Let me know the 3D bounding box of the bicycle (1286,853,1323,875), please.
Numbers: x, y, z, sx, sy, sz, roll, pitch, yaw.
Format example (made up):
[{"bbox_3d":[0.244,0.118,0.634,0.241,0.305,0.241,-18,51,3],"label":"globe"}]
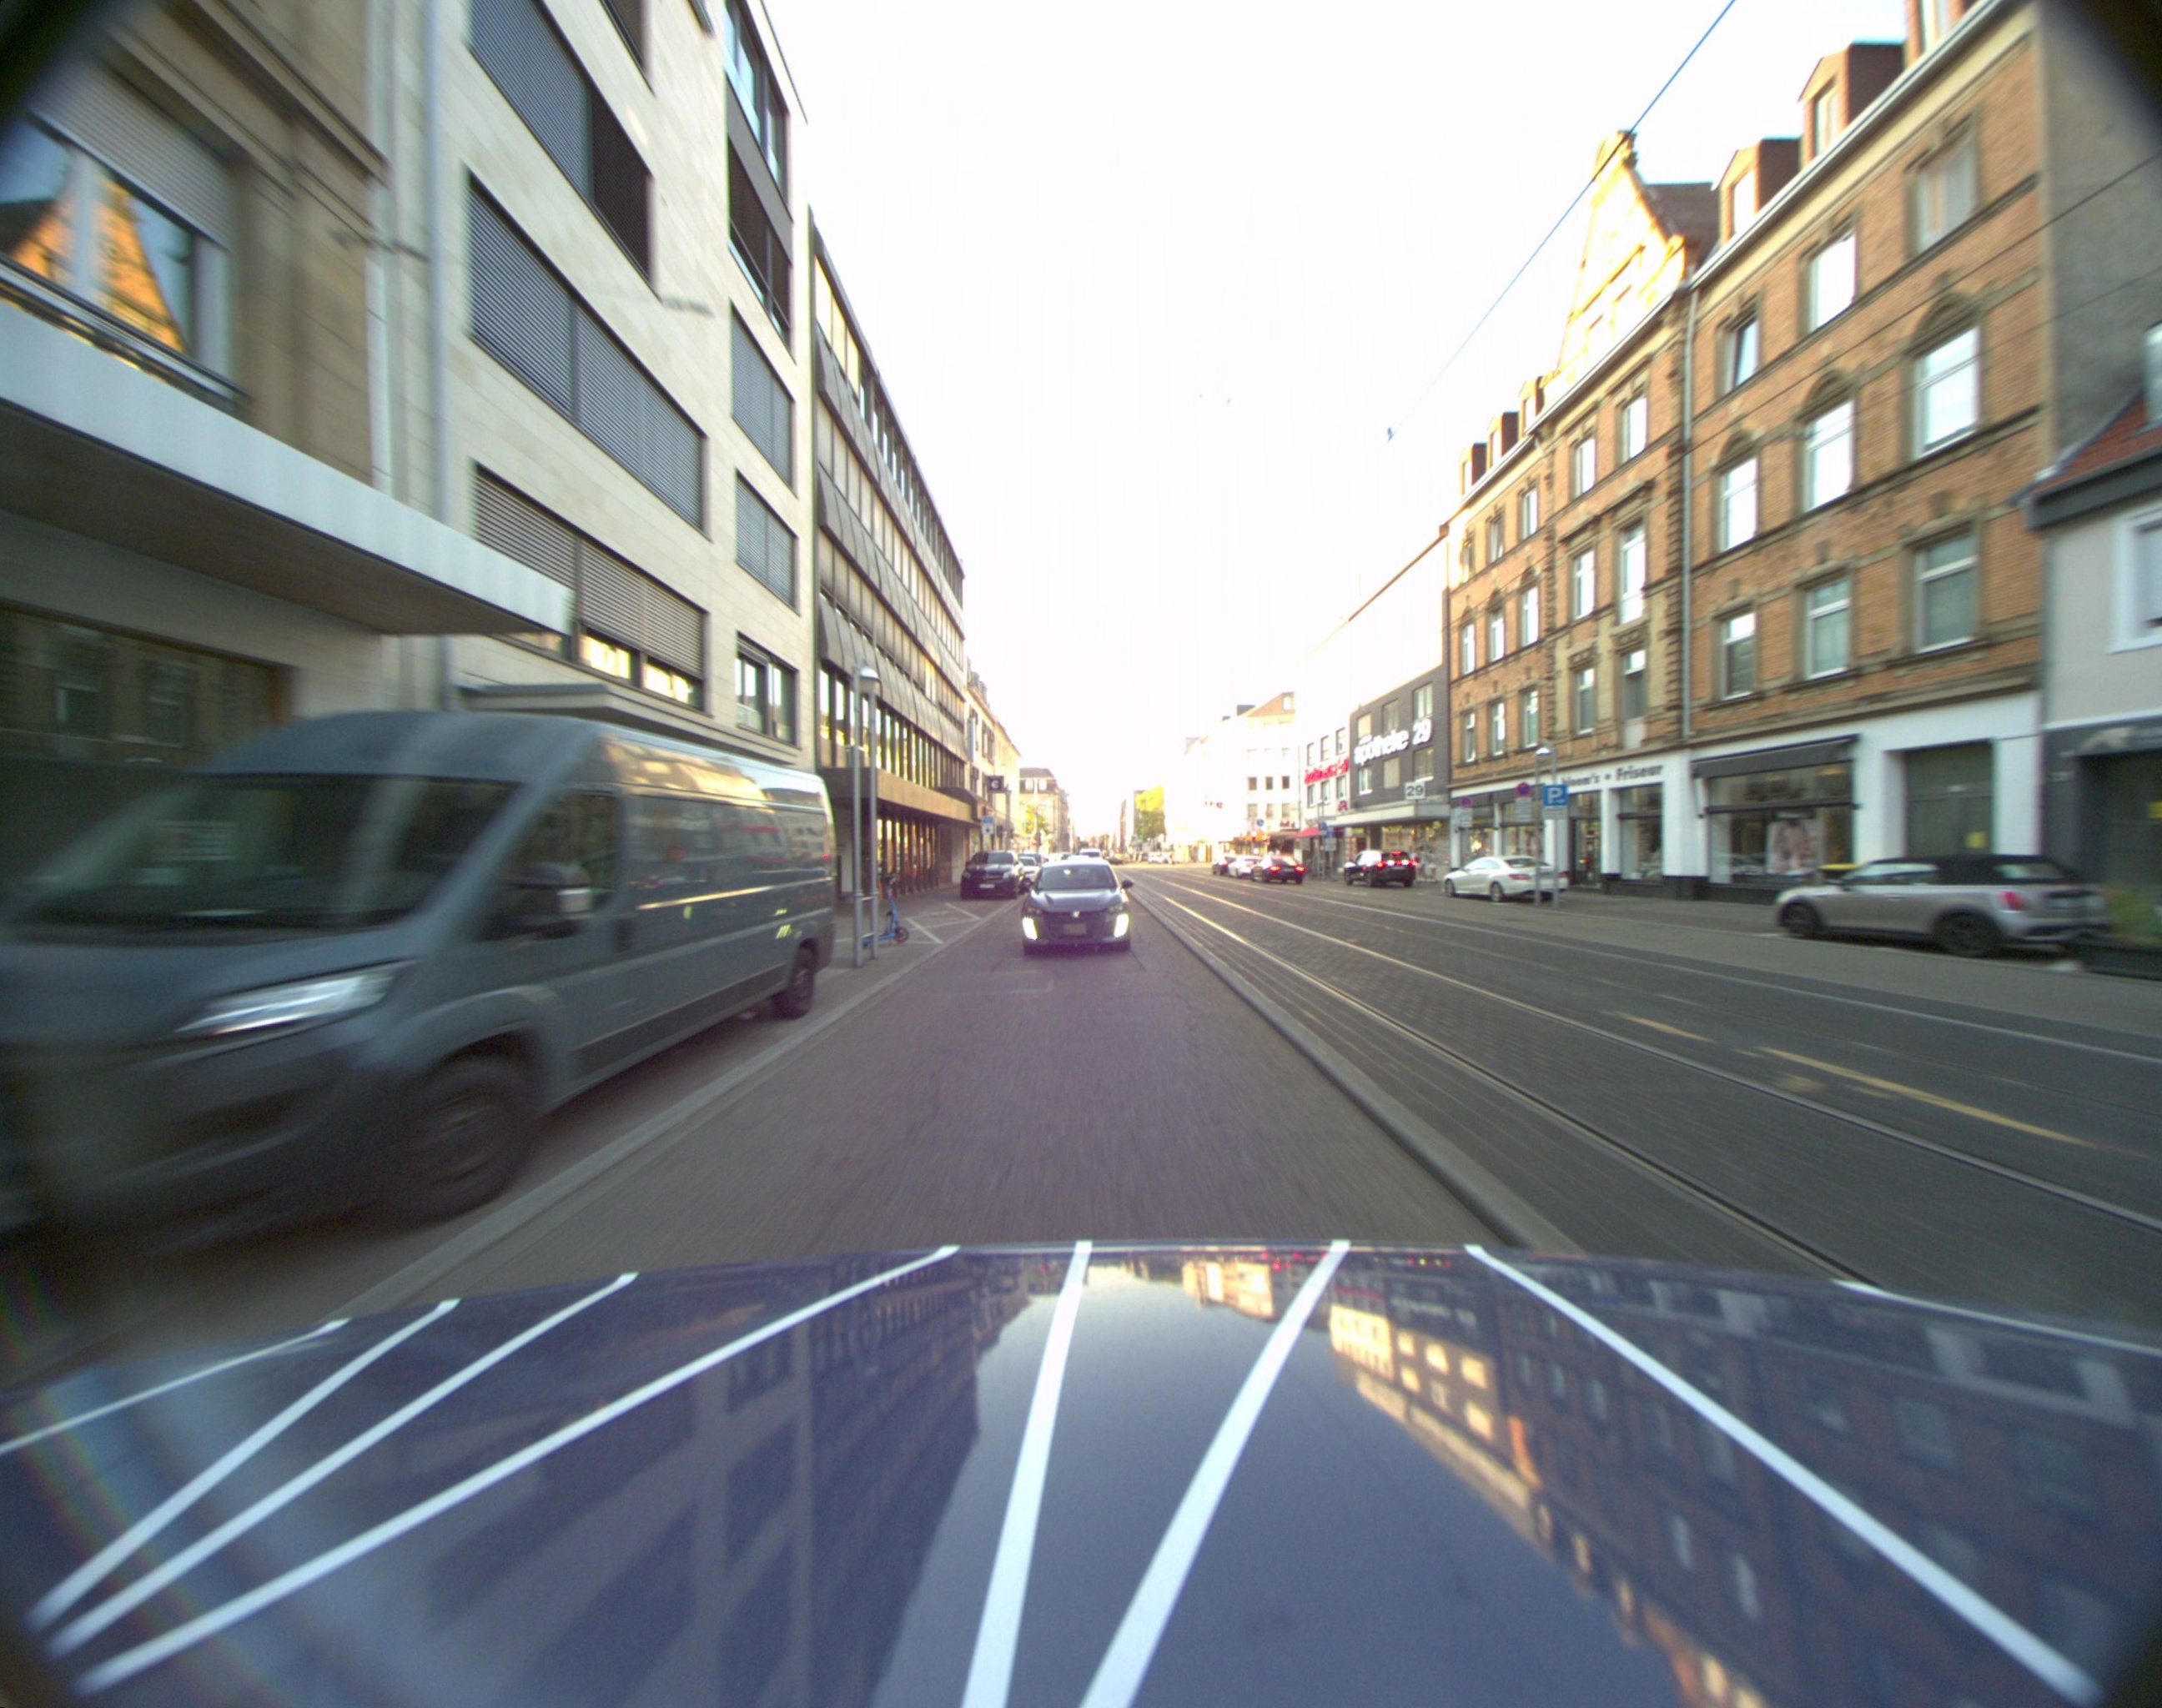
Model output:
[{"bbox_3d":[14.009,0.616,47.578,2.117,1.217,0.553,-3,3,1],"label":"bicycle"}]

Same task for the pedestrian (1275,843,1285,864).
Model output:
[{"bbox_3d":[17.638,-0.050,67.259,0.638,1.768,0.600,-1,1,-4],"label":"pedestrian"}]

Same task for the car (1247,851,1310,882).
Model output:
[{"bbox_3d":[9.994,0.607,38.881,1.999,1.444,4.648,0,0,0],"label":"car"}]

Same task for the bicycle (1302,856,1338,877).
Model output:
[{"bbox_3d":[13.635,0.715,43.390,1.835,1.041,0.489,-3,-1,1],"label":"bicycle"}]

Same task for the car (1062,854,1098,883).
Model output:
[{"bbox_3d":[-0.012,0.763,42.120,1.827,1.463,3.985,-1,0,2],"label":"car"}]

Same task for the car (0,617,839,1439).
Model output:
[{"bbox_3d":[-3.702,0.500,5.265,2.098,2.441,6.031,0,0,0],"label":"car"}]

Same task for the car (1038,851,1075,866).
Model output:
[{"bbox_3d":[-2.525,0.488,77.067,1.686,1.463,3.736,-1,1,-44],"label":"car"}]

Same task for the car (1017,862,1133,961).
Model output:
[{"bbox_3d":[-0.173,0.929,13.988,1.751,1.434,3.905,-4,0,-2],"label":"car"}]

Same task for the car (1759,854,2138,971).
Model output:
[{"bbox_3d":[13.091,0.769,11.884,1.602,1.431,3.812,-2,1,1],"label":"car"}]

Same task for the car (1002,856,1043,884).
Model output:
[{"bbox_3d":[-3.039,0.817,40.427,1.800,1.424,3.887,0,0,1],"label":"car"}]

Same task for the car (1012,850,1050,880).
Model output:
[{"bbox_3d":[-3.014,0.606,46.644,1.998,1.717,4.576,1,1,1],"label":"car"}]

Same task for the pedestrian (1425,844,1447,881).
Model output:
[{"bbox_3d":[16.154,0.401,34.597,0.684,1.651,0.624,-1,0,0],"label":"pedestrian"}]

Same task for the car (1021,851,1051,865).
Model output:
[{"bbox_3d":[-5.042,0.486,85.405,3.299,1.487,1.540,-1,1,2],"label":"car"}]

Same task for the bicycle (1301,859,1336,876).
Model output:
[{"bbox_3d":[13.759,0.777,44.044,1.809,0.907,0.456,-3,-1,1],"label":"bicycle"}]

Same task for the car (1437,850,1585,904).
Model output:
[{"bbox_3d":[13.376,0.647,24.023,1.874,1.444,4.608,-3,1,-3],"label":"car"}]

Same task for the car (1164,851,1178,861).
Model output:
[{"bbox_3d":[13.190,0.320,111.106,1.636,1.345,3.389,-3,0,1],"label":"car"}]

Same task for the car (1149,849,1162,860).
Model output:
[{"bbox_3d":[10.228,0.095,104.097,1.718,1.463,3.986,-1,0,4],"label":"car"}]

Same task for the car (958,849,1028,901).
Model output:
[{"bbox_3d":[-3.147,0.701,28.011,1.998,1.717,4.565,0,1,1],"label":"car"}]

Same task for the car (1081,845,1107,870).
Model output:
[{"bbox_3d":[1.003,0.228,57.959,1.827,1.787,4.285,-1,0,3],"label":"car"}]

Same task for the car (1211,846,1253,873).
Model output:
[{"bbox_3d":[10.285,0.356,52.009,1.998,1.717,4.727,1,1,2],"label":"car"}]

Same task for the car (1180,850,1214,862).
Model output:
[{"bbox_3d":[13.342,0.196,87.510,3.490,1.326,1.597,0,1,-8],"label":"car"}]

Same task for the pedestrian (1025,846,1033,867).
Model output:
[{"bbox_3d":[-4.780,0.224,69.440,0.663,1.917,0.879,0,1,-1],"label":"pedestrian"}]

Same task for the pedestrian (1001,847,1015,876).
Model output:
[{"bbox_3d":[-4.732,0.472,49.034,0.768,1.795,0.928,1,1,2],"label":"pedestrian"}]

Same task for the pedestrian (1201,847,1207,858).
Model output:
[{"bbox_3d":[17.137,-0.248,106.173,0.544,1.463,0.624,-4,1,-15],"label":"pedestrian"}]

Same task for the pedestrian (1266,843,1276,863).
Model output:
[{"bbox_3d":[16.811,-0.054,67.205,0.638,1.734,0.668,-1,1,-4],"label":"pedestrian"}]

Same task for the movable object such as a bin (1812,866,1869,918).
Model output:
[{"bbox_3d":[15.979,0.783,15.995,0.519,1.037,0.659,-3,1,0],"label":"movable object such as a bin"}]

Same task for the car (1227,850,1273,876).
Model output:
[{"bbox_3d":[10.161,0.515,46.013,1.998,1.444,4.657,1,1,4],"label":"car"}]

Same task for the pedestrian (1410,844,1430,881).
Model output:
[{"bbox_3d":[15.486,0.388,34.763,0.622,1.689,0.602,-1,0,0],"label":"pedestrian"}]

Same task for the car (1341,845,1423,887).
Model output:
[{"bbox_3d":[13.232,0.474,33.721,1.935,1.665,4.646,-2,0,3],"label":"car"}]

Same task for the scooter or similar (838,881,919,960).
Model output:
[{"bbox_3d":[-3.422,1.091,12.902,0.498,1.213,1.267,0,1,38],"label":"scooter or similar"}]

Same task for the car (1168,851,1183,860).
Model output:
[{"bbox_3d":[13.279,0.223,106.987,1.636,1.246,3.389,-3,0,1],"label":"car"}]
